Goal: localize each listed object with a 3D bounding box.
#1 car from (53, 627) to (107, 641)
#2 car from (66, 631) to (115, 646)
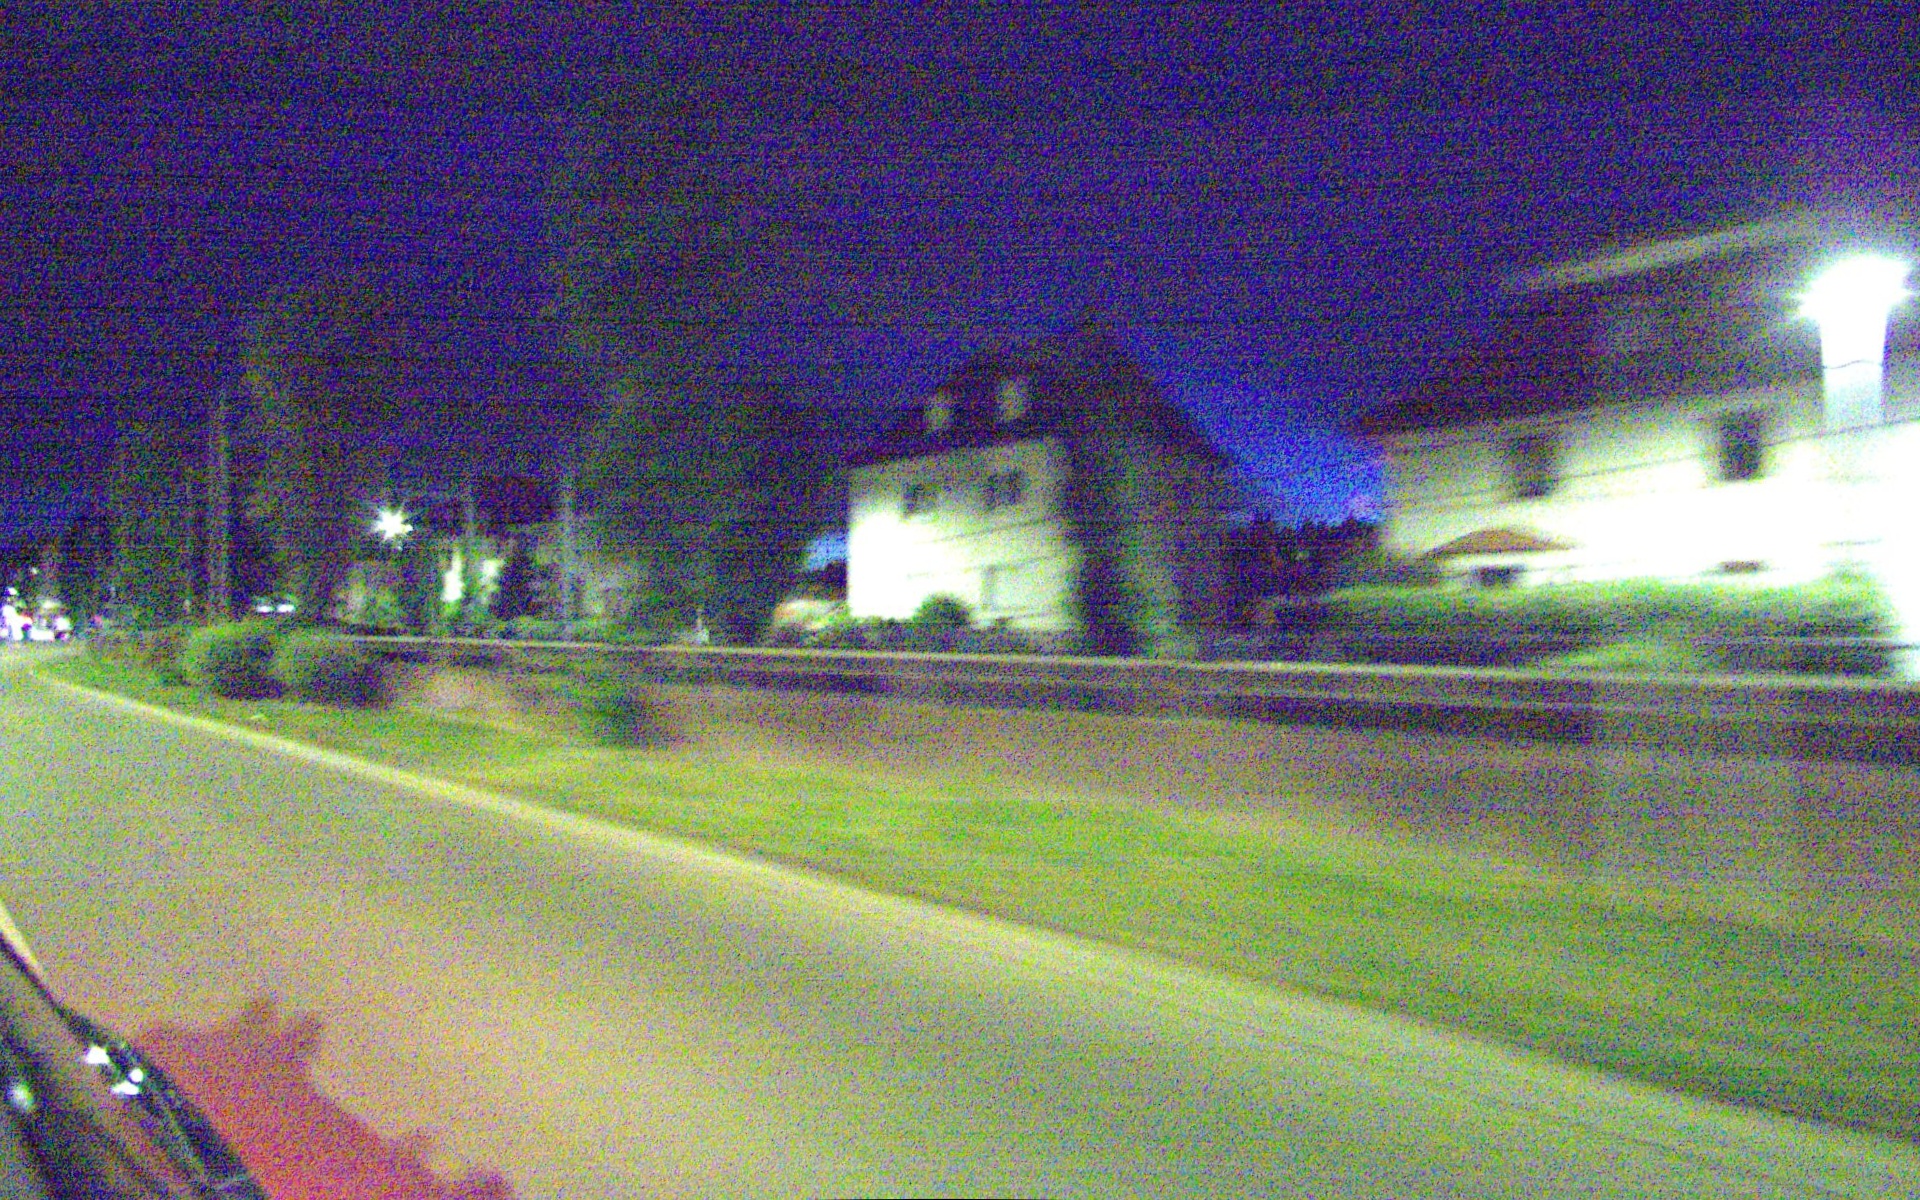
[{"bbox_3d":[-100.077,3.836,115.137,2.022,1.573,4.280,-3,-2,31],"label":"car"},{"bbox_3d":[-97.824,4.311,113.929,1.999,1.630,3.945,-3,-3,41],"label":"car"}]
